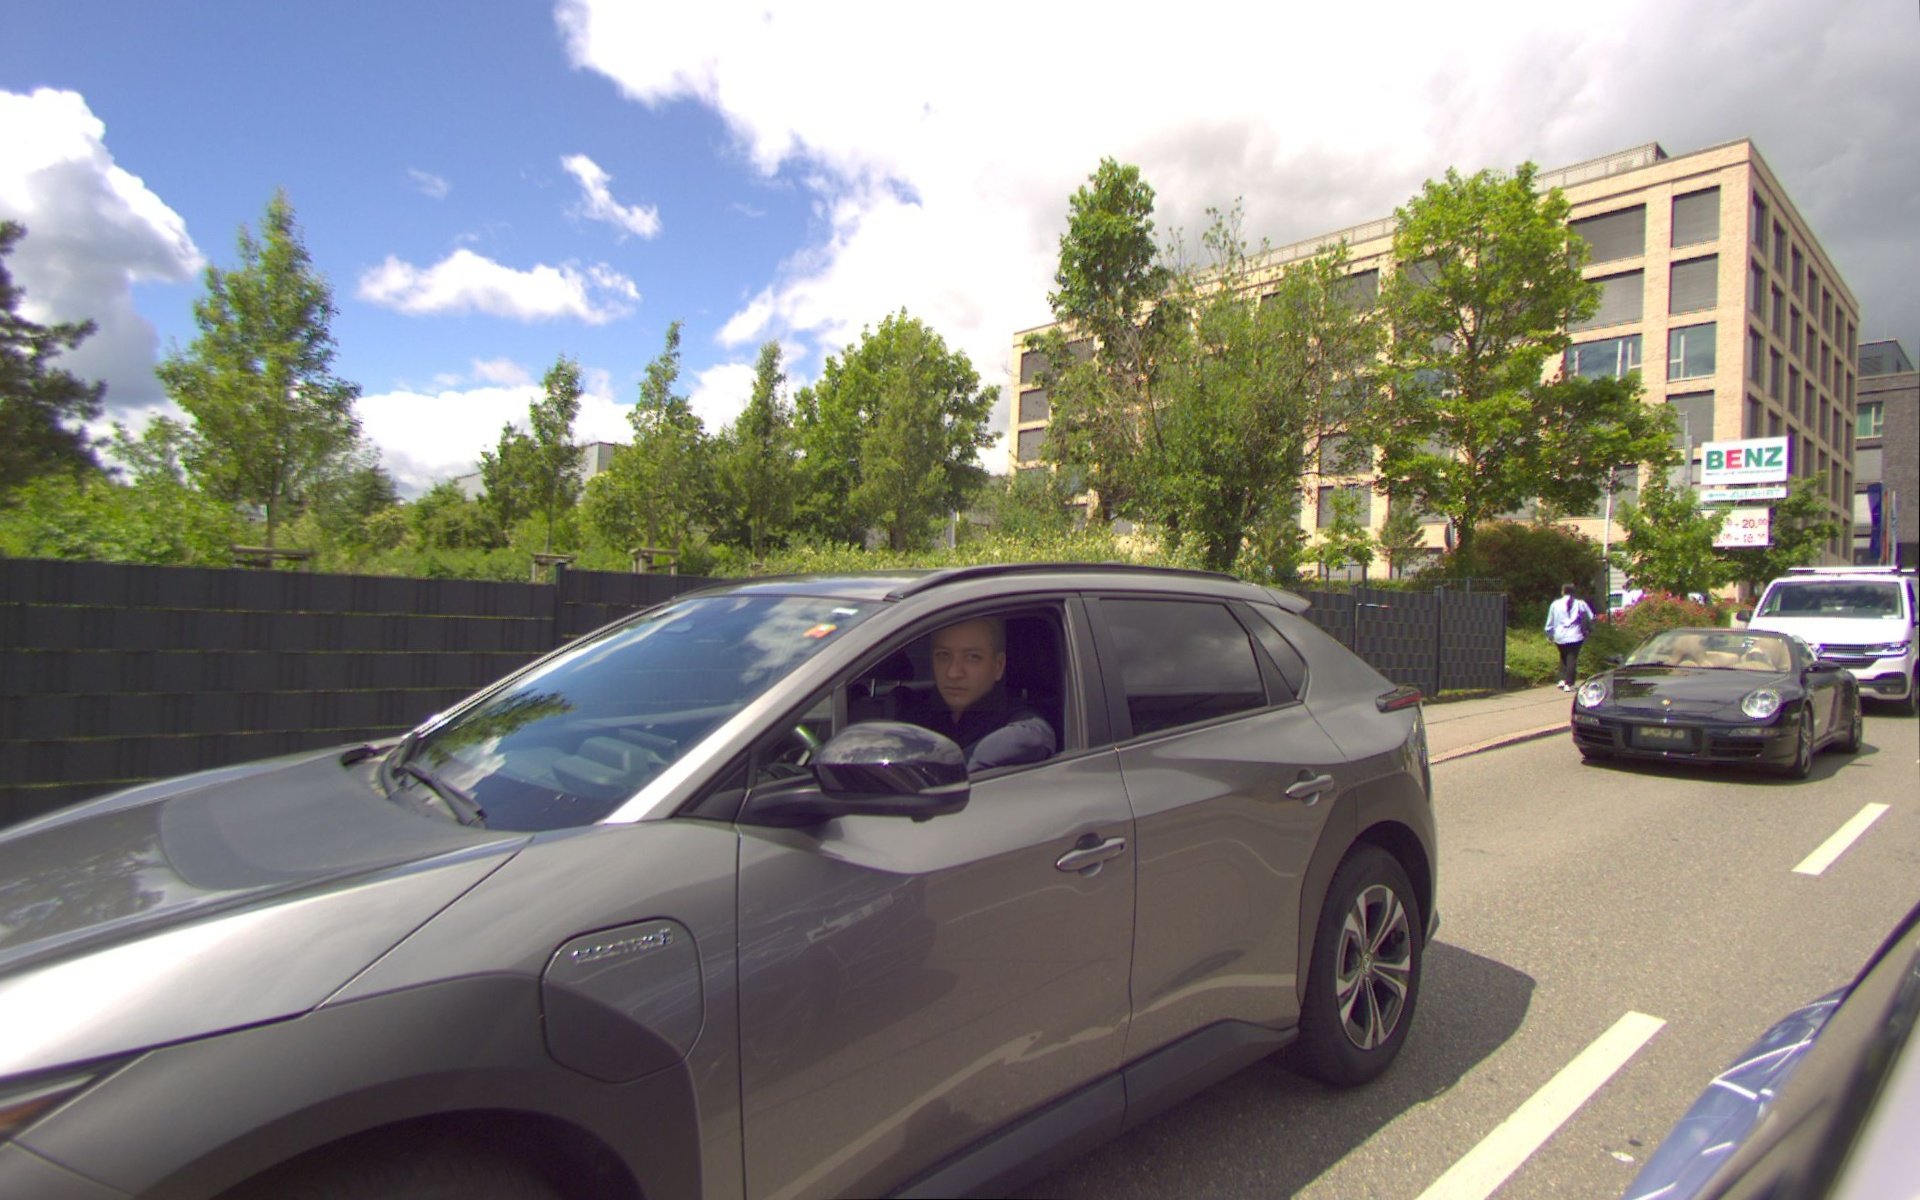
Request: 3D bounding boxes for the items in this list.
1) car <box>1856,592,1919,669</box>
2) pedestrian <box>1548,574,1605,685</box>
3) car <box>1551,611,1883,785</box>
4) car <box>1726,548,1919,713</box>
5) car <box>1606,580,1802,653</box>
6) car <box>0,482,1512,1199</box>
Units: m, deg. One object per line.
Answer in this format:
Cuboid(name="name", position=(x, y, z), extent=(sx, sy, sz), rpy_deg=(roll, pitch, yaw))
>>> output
Cuboid(name="car", position=(20.232, 0.594, 21.078), extent=(3.930, 1.481, 1.817), rpy_deg=(0, 2, -41))
Cuboid(name="pedestrian", position=(9.587, 0.437, 15.731), extent=(0.435, 1.678, 0.631), rpy_deg=(0, 1, -42))
Cuboid(name="car", position=(7.552, 0.792, 9.966), extent=(3.967, 1.310, 1.823), rpy_deg=(0, 0, -41))
Cuboid(name="car", position=(13.272, 0.378, 15.044), extent=(4.677, 2.075, 2.087), rpy_deg=(0, 0, -41))
Cuboid(name="car", position=(19.977, 0.372, 27.285), extent=(1.793, 1.754, 3.991), rpy_deg=(0, 2, -44))
Cuboid(name="car", position=(-0.340, 0.682, 2.928), extent=(4.501, 1.649, 1.997), rpy_deg=(0, 1, -42))
